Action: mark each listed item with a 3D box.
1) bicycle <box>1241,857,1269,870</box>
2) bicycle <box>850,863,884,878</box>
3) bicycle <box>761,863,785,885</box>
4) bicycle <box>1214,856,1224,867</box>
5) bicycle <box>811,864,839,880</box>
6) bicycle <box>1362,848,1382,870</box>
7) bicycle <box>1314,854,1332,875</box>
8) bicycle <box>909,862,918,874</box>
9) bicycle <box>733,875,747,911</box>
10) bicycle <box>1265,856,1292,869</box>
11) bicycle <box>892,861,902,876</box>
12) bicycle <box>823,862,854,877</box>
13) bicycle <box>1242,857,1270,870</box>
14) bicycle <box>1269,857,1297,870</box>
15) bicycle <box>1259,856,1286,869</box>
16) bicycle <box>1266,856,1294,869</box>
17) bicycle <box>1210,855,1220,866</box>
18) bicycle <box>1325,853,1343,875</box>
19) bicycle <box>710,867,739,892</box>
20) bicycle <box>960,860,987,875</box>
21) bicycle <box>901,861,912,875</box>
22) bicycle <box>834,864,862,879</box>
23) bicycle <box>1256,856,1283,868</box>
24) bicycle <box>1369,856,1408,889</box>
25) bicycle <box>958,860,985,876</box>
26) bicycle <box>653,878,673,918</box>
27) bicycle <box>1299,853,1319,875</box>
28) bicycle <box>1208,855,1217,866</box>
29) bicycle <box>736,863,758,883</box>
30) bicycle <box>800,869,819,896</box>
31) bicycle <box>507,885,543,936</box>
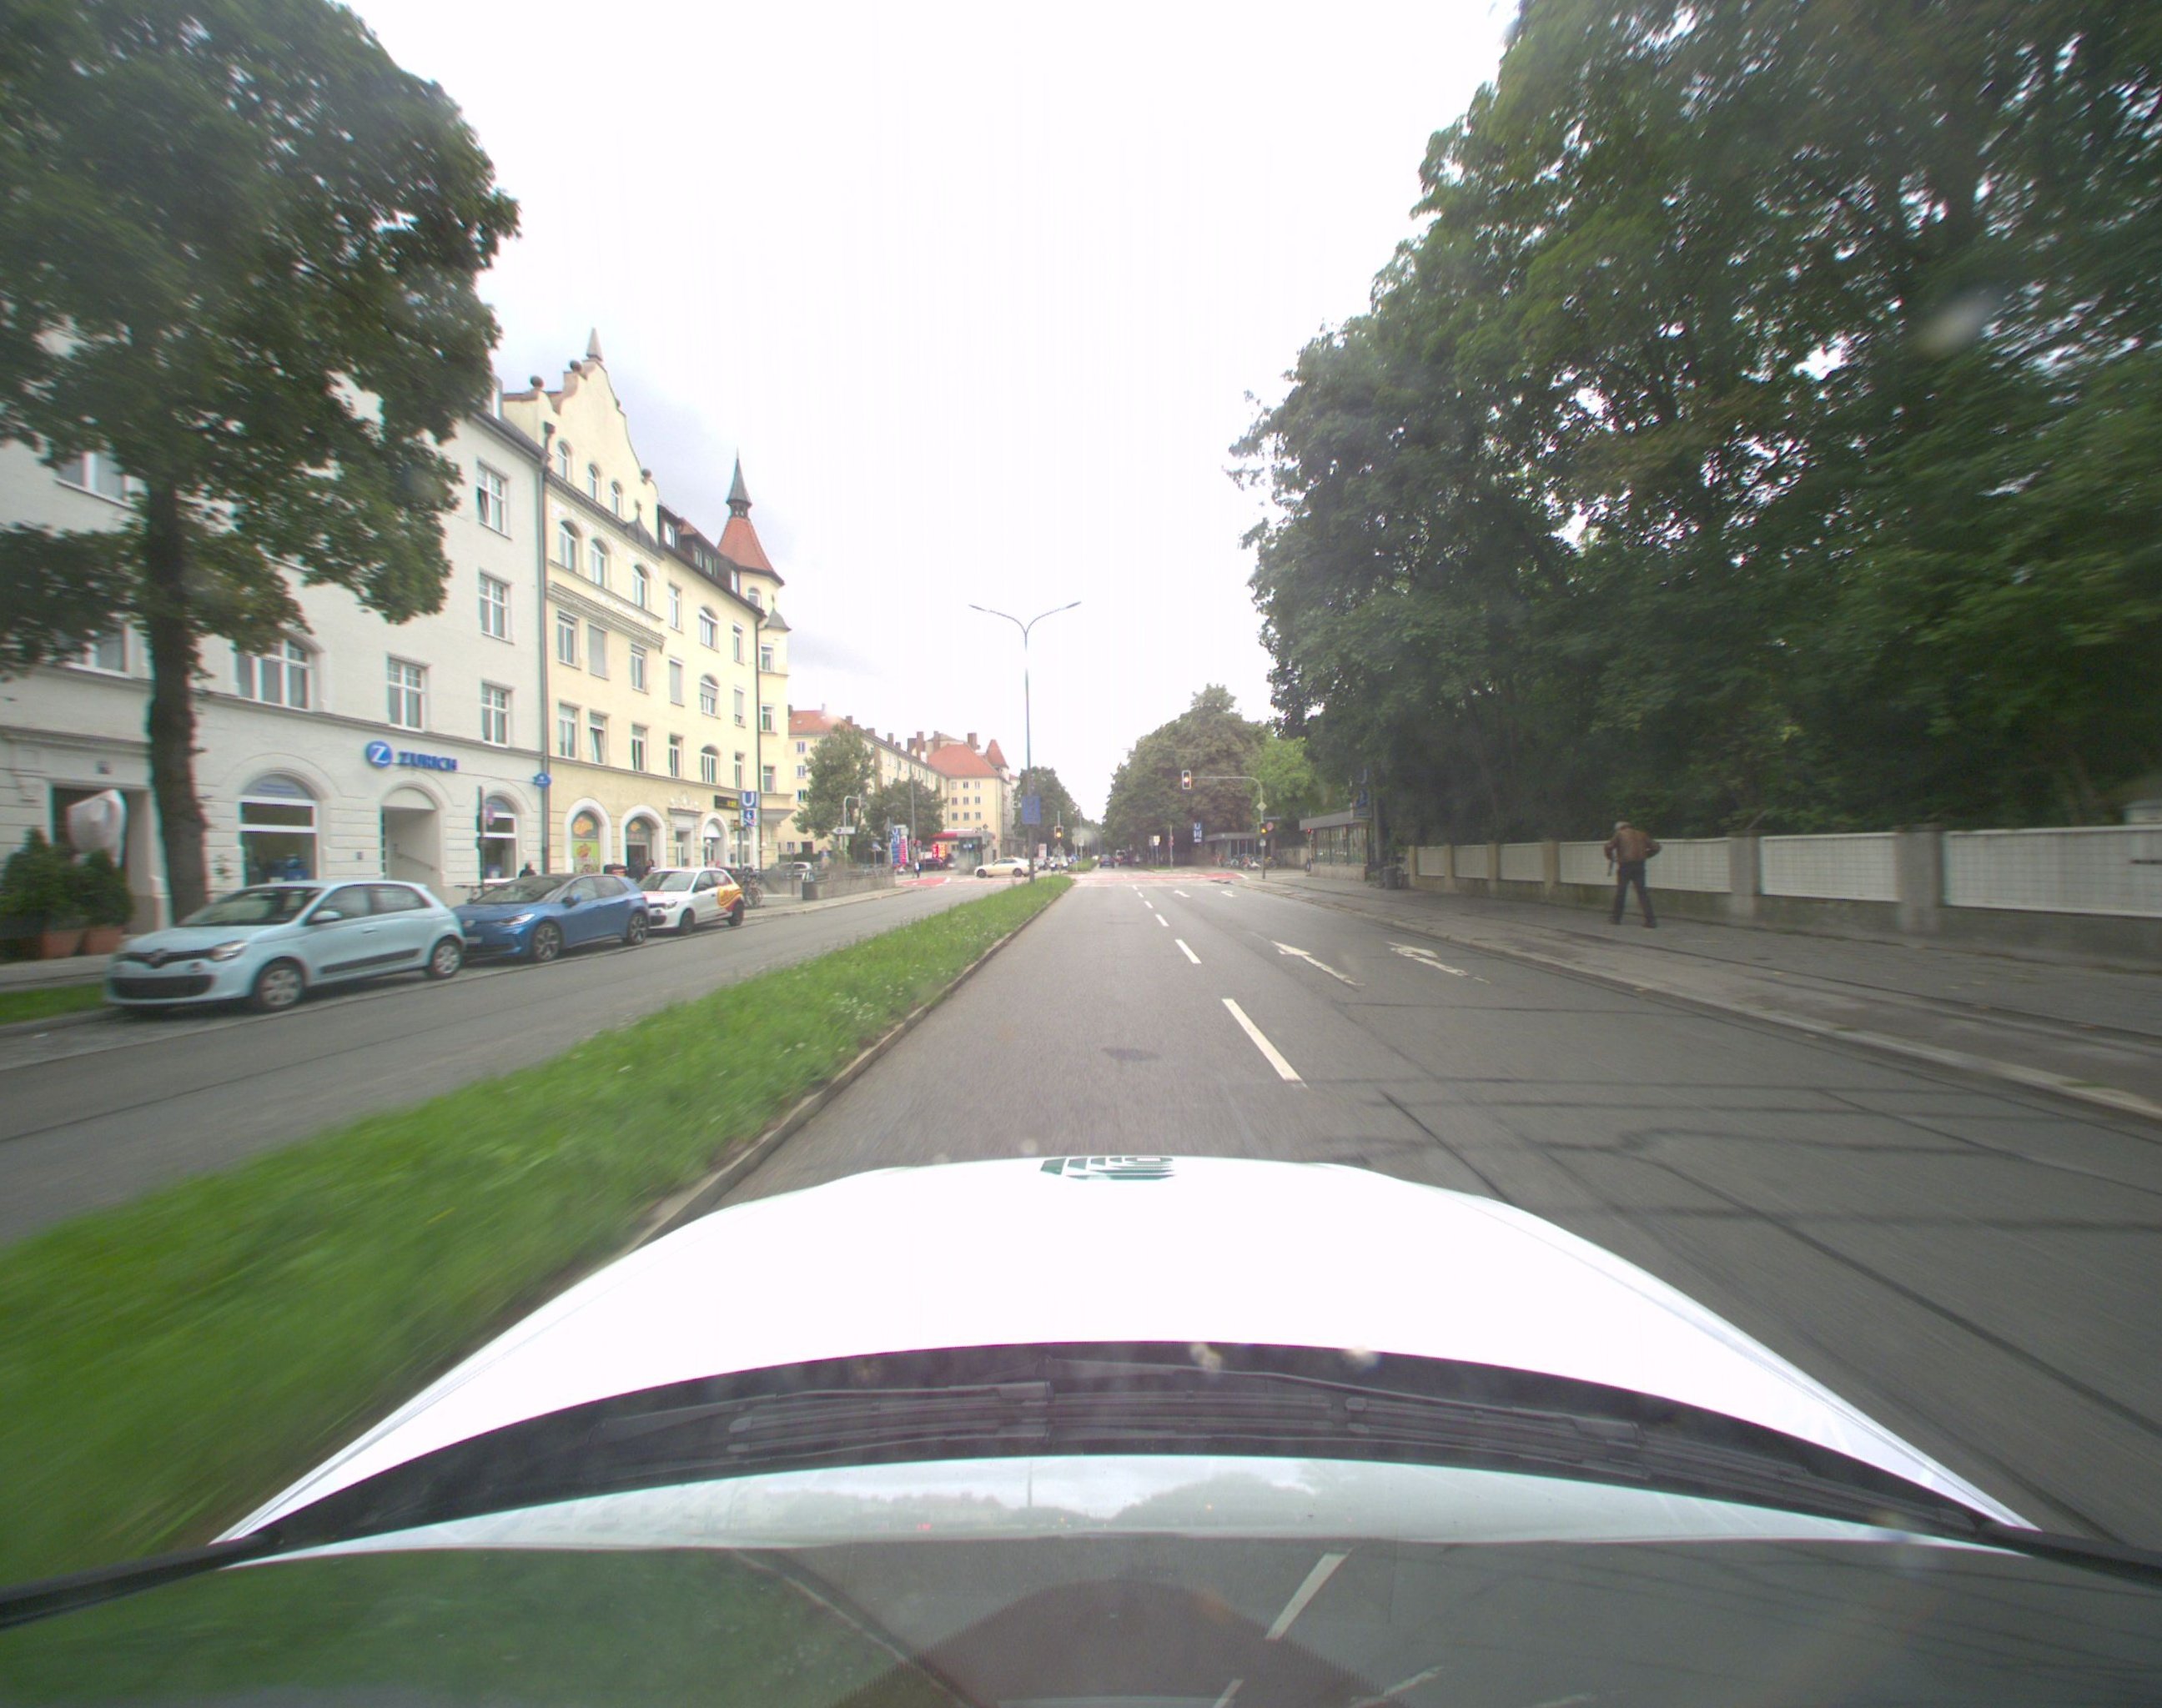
[{"bbox_3d":[13.714,0.756,64.168,2.130,1.014,0.604,-1,0,9],"label":"bicycle"},{"bbox_3d":[-18.360,1.391,69.834,2.720,1.251,0.786,1,-1,-29],"label":"bicycle"},{"bbox_3d":[-14.624,0.951,38.652,0.471,0.980,1.546,-1,0,2],"label":"bicycle"},{"bbox_3d":[12.445,0.678,73.293,0.555,1.014,2.015,-1,0,0],"label":"bicycle"},{"bbox_3d":[-21.606,1.519,68.743,2.178,1.236,0.764,-1,0,-8],"label":"bicycle"},{"bbox_3d":[15.415,0.268,43.220,0.467,1.121,1.736,-1,-1,2],"label":"bicycle"},{"bbox_3d":[12.845,0.559,43.285,0.467,1.121,1.736,-1,-1,2],"label":"bicycle"},{"bbox_3d":[-16.132,1.327,78.510,0.607,1.145,1.962,-1,0,-4],"label":"bicycle"},{"bbox_3d":[-11.247,1.260,26.867,0.368,1.115,1.669,-1,0,-21],"label":"bicycle"},{"bbox_3d":[16.133,0.667,66.601,2.130,1.014,0.636,-1,0,9],"label":"bicycle"},{"bbox_3d":[-16.614,1.295,73.544,0.607,1.236,2.183,-1,0,-4],"label":"bicycle"},{"bbox_3d":[-20.656,1.293,69.449,2.393,1.251,0.789,0,-1,-9],"label":"bicycle"},{"bbox_3d":[13.934,0.742,64.787,2.130,1.014,0.636,-1,0,9],"label":"bicycle"},{"bbox_3d":[16.128,0.753,65.035,2.130,1.014,0.636,-1,0,9],"label":"bicycle"},{"bbox_3d":[16.052,0.677,68.184,2.130,1.014,0.636,-1,0,9],"label":"bicycle"},{"bbox_3d":[16.102,0.659,65.834,2.130,1.014,0.636,-1,0,9],"label":"bicycle"},{"bbox_3d":[12.523,0.591,76.024,0.555,1.014,2.015,-1,0,0],"label":"bicycle"},{"bbox_3d":[13.423,0.531,43.275,0.467,1.121,1.736,-1,-1,2],"label":"bicycle"},{"bbox_3d":[-15.159,1.079,34.629,0.471,0.980,1.546,-1,0,2],"label":"bicycle"},{"bbox_3d":[-9.728,1.225,73.495,2.275,1.304,0.694,-2,0,2],"label":"bicycle"},{"bbox_3d":[-15.929,1.282,74.356,0.607,1.236,2.183,-1,0,-4],"label":"bicycle"},{"bbox_3d":[-19.672,1.457,68.785,2.180,1.236,0.763,-1,0,-10],"label":"bicycle"},{"bbox_3d":[15.976,0.685,68.979,2.130,1.014,0.636,-1,0,9],"label":"bicycle"},{"bbox_3d":[10.600,0.618,28.164,0.620,1.090,2.027,-1,0,2],"label":"bicycle"},{"bbox_3d":[-9.778,1.235,72.716,2.262,1.304,0.704,-2,0,2],"label":"bicycle"},{"bbox_3d":[-12.460,1.296,24.294,0.330,1.115,1.669,-1,0,-21],"label":"bicycle"},{"bbox_3d":[12.111,0.550,43.285,0.597,1.121,1.890,-1,-1,2],"label":"bicycle"},{"bbox_3d":[12.789,0.615,79.326,0.555,1.014,2.015,-1,0,0],"label":"bicycle"},{"bbox_3d":[-17.595,0.982,42.945,0.471,0.980,1.546,-1,0,2],"label":"bicycle"},{"bbox_3d":[-11.834,1.215,35.561,0.395,1.115,1.810,-1,0,-6],"label":"bicycle"},{"bbox_3d":[-13.425,1.345,19.706,0.551,1.115,1.863,-1,0,-30],"label":"bicycle"}]
